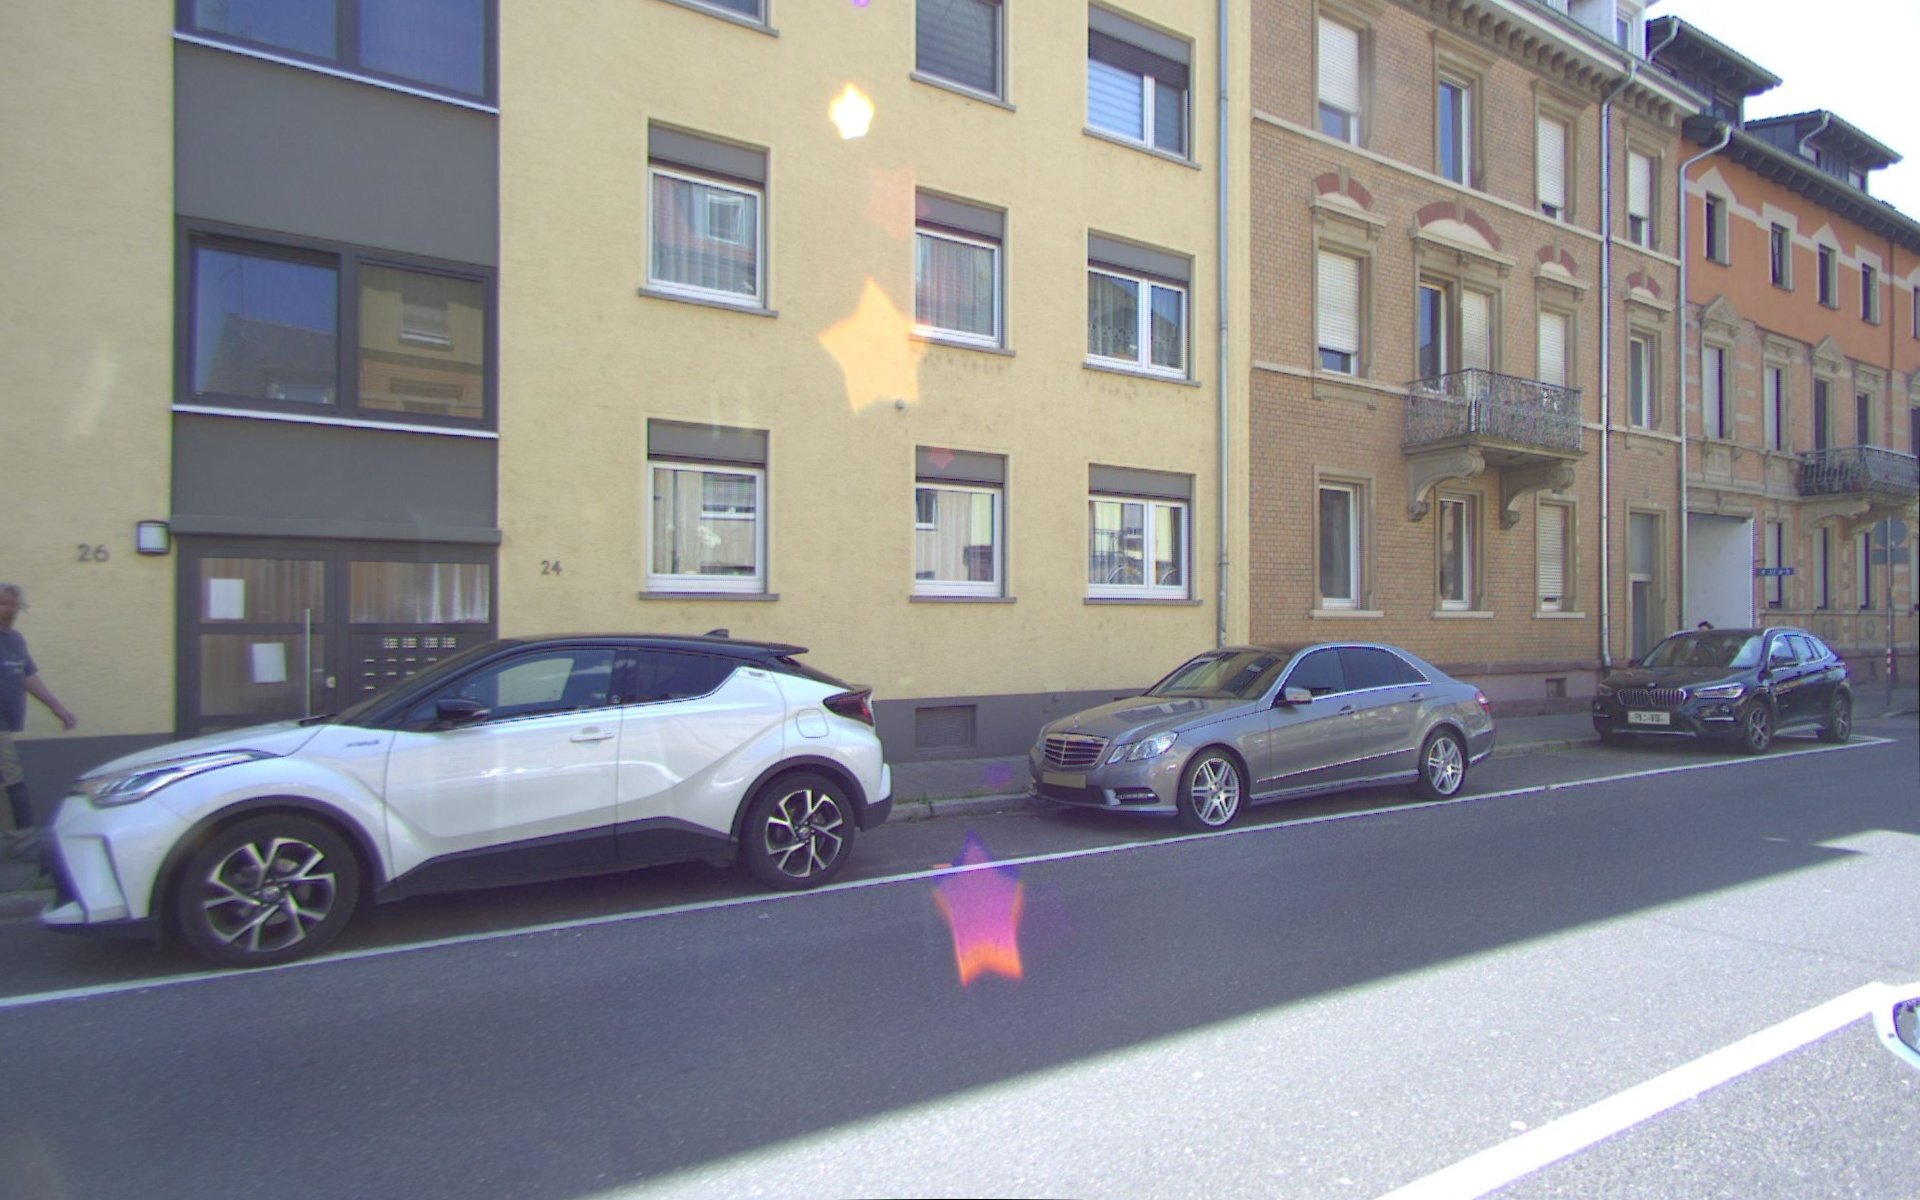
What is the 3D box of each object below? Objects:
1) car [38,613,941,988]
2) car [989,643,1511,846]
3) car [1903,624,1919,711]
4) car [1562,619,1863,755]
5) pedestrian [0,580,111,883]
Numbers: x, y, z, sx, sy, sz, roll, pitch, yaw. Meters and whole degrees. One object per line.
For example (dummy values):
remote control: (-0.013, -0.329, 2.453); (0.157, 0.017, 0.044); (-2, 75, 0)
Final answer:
car: (-2.416, 0.905, 6.045); (4.253, 1.530, 1.896); (1, -3, -31)
car: (2.751, 1.130, 9.204); (4.699, 1.419, 1.896); (1, -3, -31)
car: (20.471, 1.297, 19.765); (4.258, 1.641, 1.893); (1, -4, -35)
car: (10.546, 1.133, 14.020); (4.254, 1.641, 1.895); (1, -3, -31)
pedestrian: (-6.081, 0.775, 6.271); (0.958, 1.773, 1.146); (1, -1, -29)
